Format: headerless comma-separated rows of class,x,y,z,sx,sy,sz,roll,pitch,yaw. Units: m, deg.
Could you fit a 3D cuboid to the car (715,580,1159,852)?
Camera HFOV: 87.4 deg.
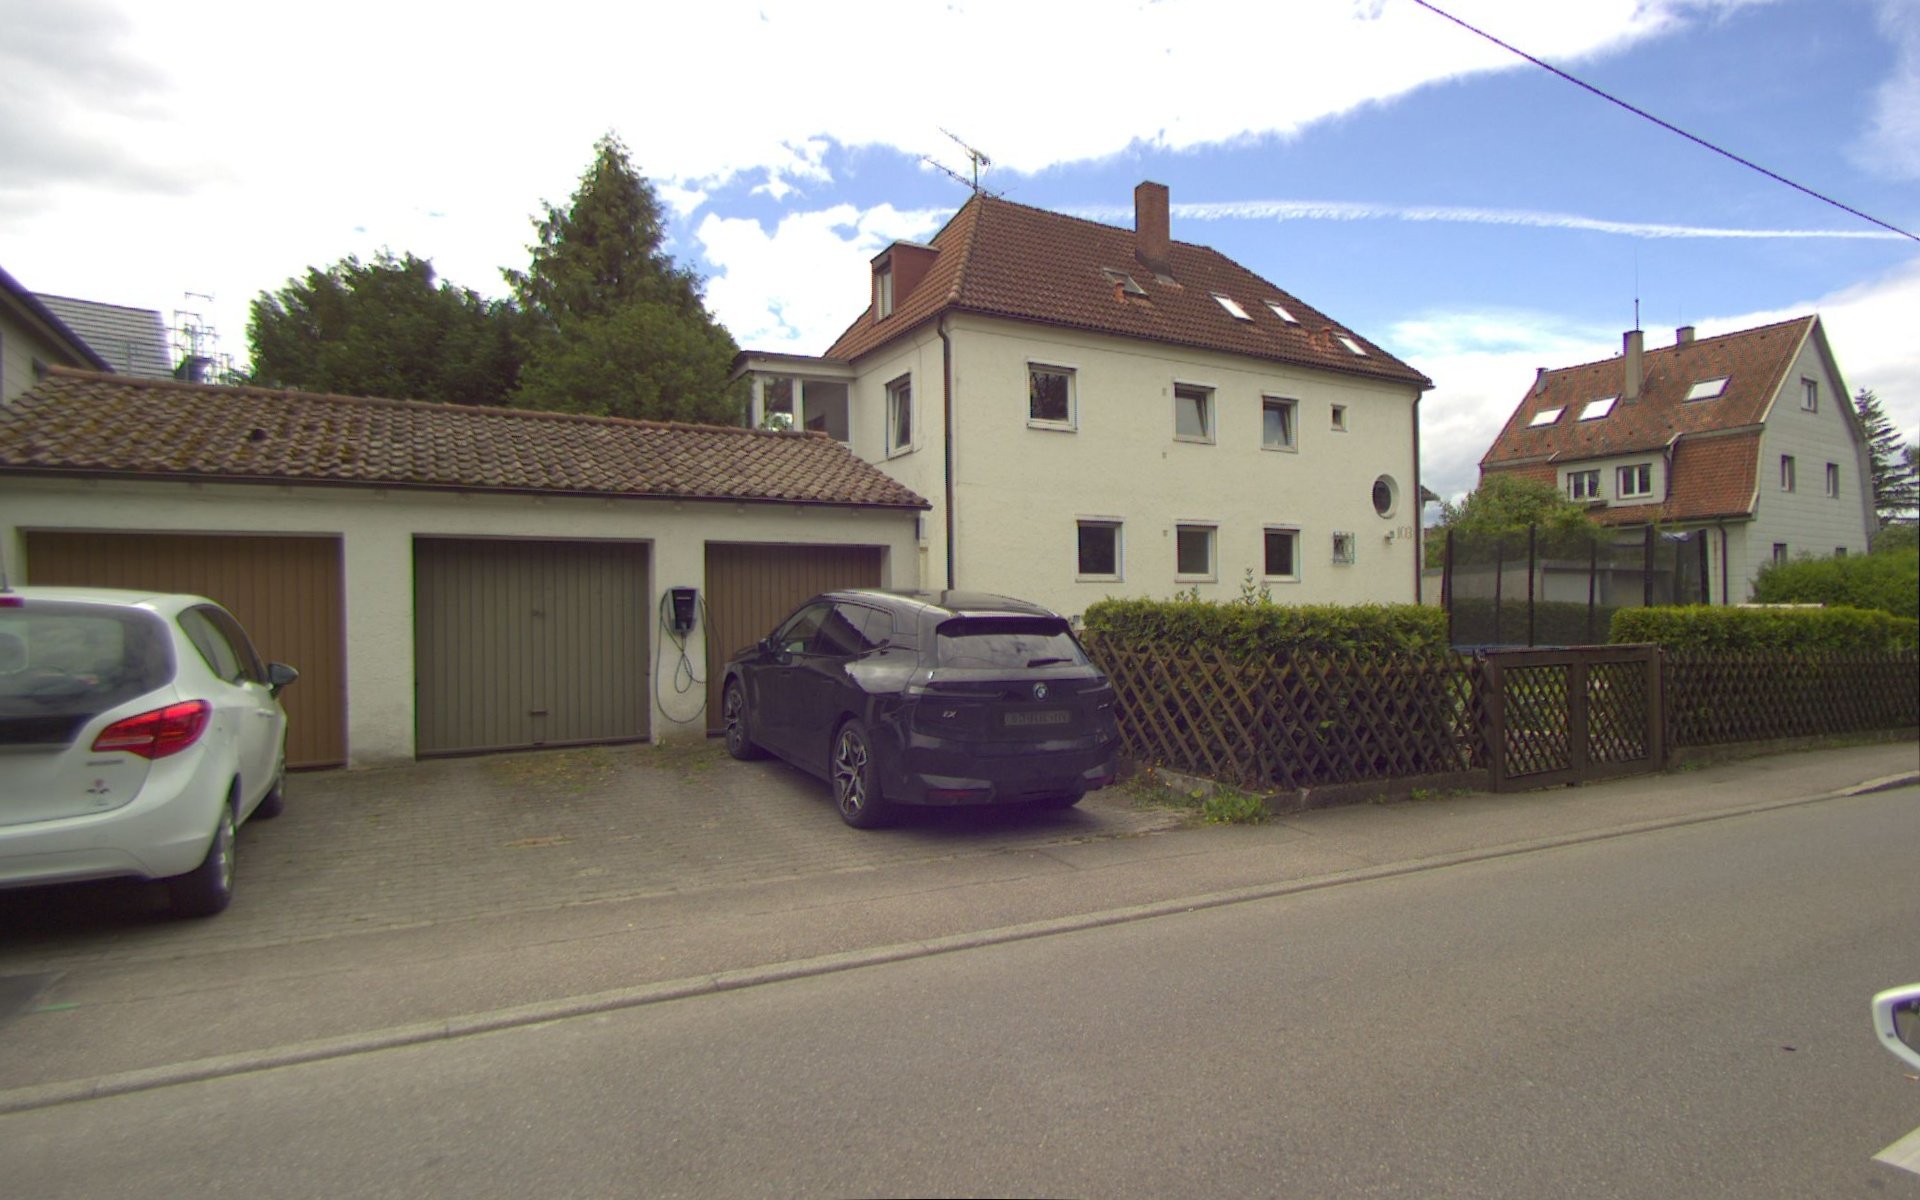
car,-0.542,0.713,8.814,1.861,1.692,4.647,1,1,-30

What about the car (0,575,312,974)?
car,-4.948,0.689,5.824,1.698,1.615,3.969,1,1,-29

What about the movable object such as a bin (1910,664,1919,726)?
movable object such as a bin,14.838,1.452,15.070,0.551,0.925,0.632,1,1,-17
